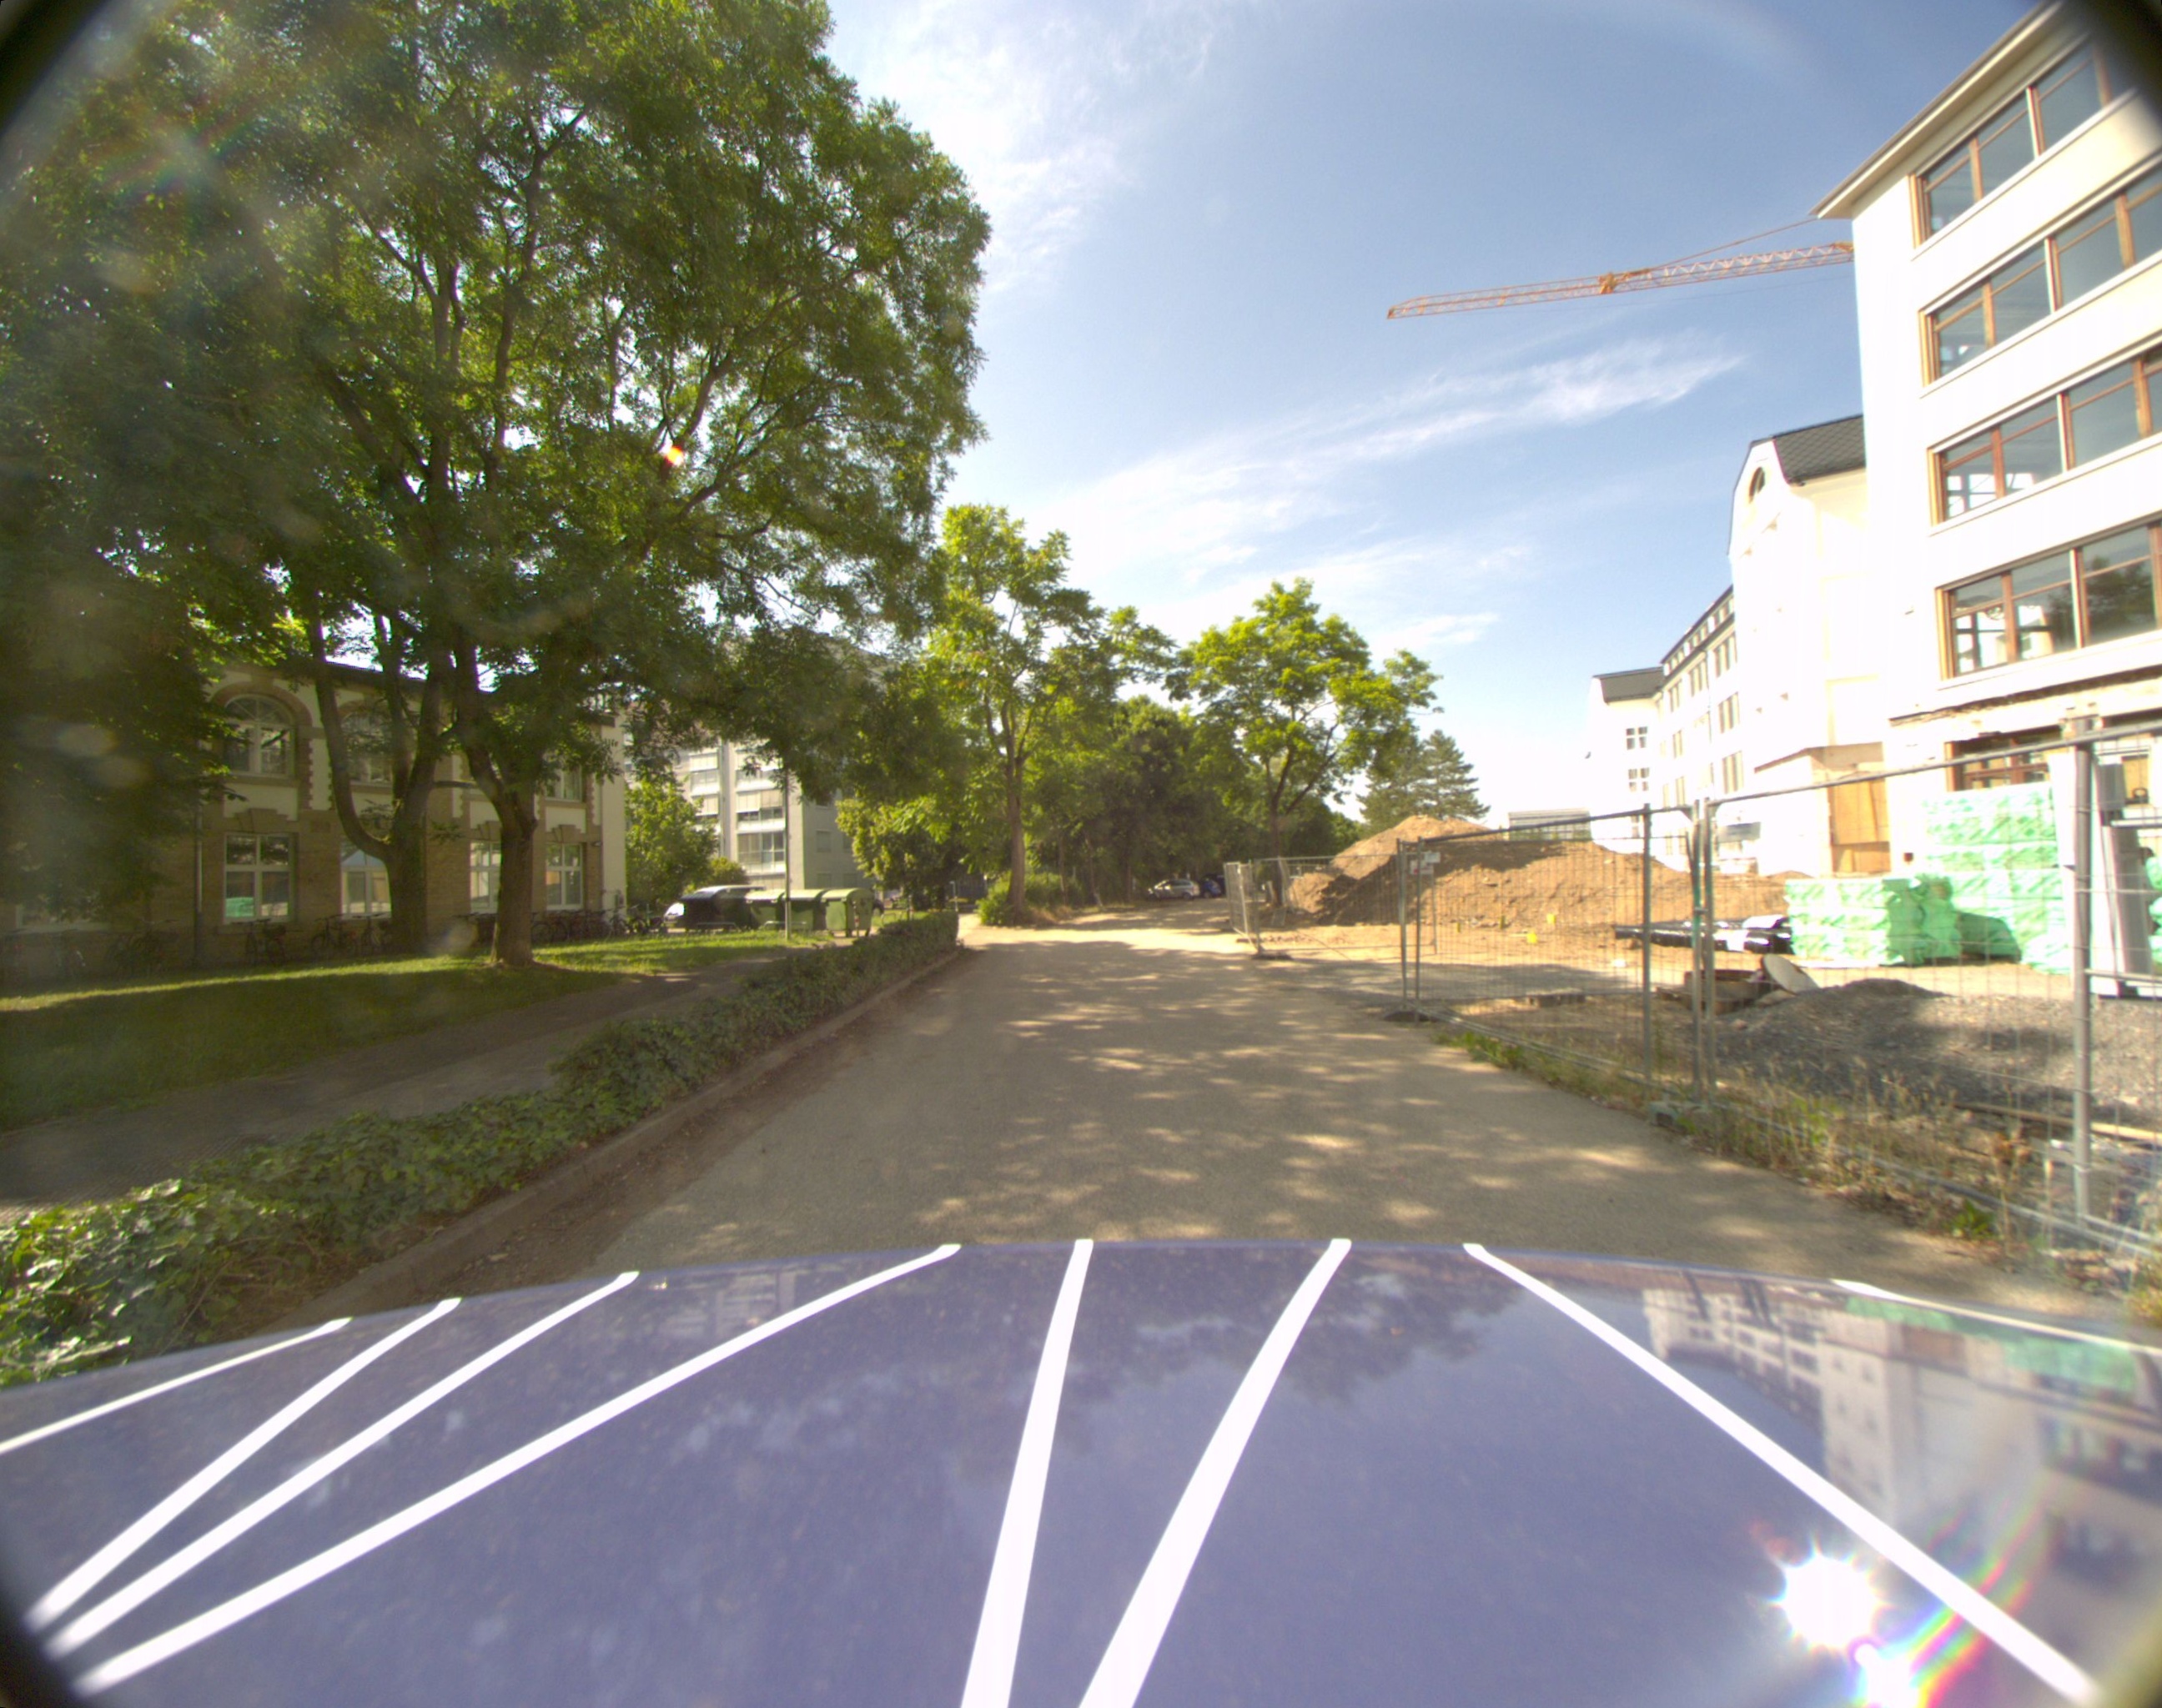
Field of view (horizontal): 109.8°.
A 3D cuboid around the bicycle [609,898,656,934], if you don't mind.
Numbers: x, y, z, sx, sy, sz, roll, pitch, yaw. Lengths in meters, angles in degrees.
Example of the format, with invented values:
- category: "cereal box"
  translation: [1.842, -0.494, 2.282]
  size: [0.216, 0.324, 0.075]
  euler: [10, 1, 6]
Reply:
- category: "bicycle"
  translation: [-15.179, 2.084, 25.704]
  size: [1.800, 1.154, 0.508]
  euler: [-3, -1, 29]

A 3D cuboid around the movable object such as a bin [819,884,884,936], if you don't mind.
- category: "movable object such as a bin"
  translation: [-6.852, 1.641, 22.658]
  size: [1.389, 1.454, 1.218]
  euler: [-3, -1, 36]

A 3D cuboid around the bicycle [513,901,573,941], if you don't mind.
- category: "bicycle"
  translation: [-16.401, 2.031, 23.144]
  size: [1.917, 1.154, 0.589]
  euler: [-3, -1, 24]

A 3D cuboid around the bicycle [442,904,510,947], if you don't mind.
- category: "bicycle"
  translation: [-17.180, 2.022, 21.557]
  size: [2.097, 1.154, 0.589]
  euler: [-3, -1, 24]

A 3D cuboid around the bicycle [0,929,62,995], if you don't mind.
- category: "bicycle"
  translation: [-20.503, 2.050, 14.643]
  size: [2.097, 1.154, 0.589]
  euler: [-3, -1, 24]

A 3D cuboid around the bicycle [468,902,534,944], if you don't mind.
- category: "bicycle"
  translation: [-16.953, 2.018, 22.191]
  size: [2.097, 1.154, 0.589]
  euler: [-3, -1, 24]

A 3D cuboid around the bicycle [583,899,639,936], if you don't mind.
- category: "bicycle"
  translation: [-15.587, 2.096, 25.178]
  size: [1.847, 1.154, 0.614]
  euler: [-3, -1, 24]

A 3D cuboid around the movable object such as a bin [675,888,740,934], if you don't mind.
- category: "movable object such as a bin"
  translation: [-12.365, 1.875, 25.173]
  size: [1.433, 1.401, 1.252]
  euler: [-2, -1, 20]

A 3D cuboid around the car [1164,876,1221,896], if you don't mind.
- category: "car"
  translation: [8.634, 2.483, 58.782]
  size: [3.991, 1.433, 2.003]
  euler: [-2, -2, 19]

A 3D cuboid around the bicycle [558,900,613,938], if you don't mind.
- category: "bicycle"
  translation: [-15.897, 2.097, 24.370]
  size: [1.909, 1.154, 0.495]
  euler: [-3, -1, 24]

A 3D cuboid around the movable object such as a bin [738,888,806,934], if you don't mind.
- category: "movable object such as a bin"
  translation: [-9.648, 1.775, 23.723]
  size: [1.499, 1.353, 1.217]
  euler: [-2, -1, 21]

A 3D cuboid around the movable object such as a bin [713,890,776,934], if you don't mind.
- category: "movable object such as a bin"
  translation: [-10.891, 1.878, 24.626]
  size: [1.349, 1.341, 1.217]
  euler: [-2, -1, 21]

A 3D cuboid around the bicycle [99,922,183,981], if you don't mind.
- category: "bicycle"
  translation: [-19.914, 2.048, 16.086]
  size: [2.097, 1.154, 0.589]
  euler: [-3, -1, 24]

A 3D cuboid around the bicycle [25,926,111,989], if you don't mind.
- category: "bicycle"
  translation: [-20.358, 2.048, 15.263]
  size: [2.097, 1.154, 0.589]
  euler: [-3, -1, 24]

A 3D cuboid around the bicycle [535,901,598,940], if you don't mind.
- category: "bicycle"
  translation: [-16.154, 2.086, 23.856]
  size: [2.097, 1.154, 0.589]
  euler: [-3, -1, 24]

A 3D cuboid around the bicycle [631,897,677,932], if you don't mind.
- category: "bicycle"
  translation: [-14.708, 2.083, 26.143]
  size: [1.940, 1.154, 0.558]
  euler: [-3, -1, 34]

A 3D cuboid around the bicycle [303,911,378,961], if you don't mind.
- category: "bicycle"
  translation: [-18.481, 2.035, 18.946]
  size: [2.097, 1.154, 0.589]
  euler: [-3, -1, 24]

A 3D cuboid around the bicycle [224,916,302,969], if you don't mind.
- category: "bicycle"
  translation: [-19.080, 2.056, 17.719]
  size: [2.097, 1.154, 0.589]
  euler: [-3, -1, 24]

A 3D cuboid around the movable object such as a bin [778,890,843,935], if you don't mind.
- category: "movable object such as a bin"
  translation: [-8.244, 1.769, 23.215]
  size: [1.352, 1.292, 1.217]
  euler: [-2, -1, 21]

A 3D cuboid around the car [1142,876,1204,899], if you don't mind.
- category: "car"
  translation: [6.517, 2.371, 53.819]
  size: [3.991, 1.499, 2.003]
  euler: [-2, -2, 19]

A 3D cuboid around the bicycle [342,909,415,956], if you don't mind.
- category: "bicycle"
  translation: [-18.193, 2.021, 19.668]
  size: [2.097, 1.154, 0.589]
  euler: [-3, -1, 24]
